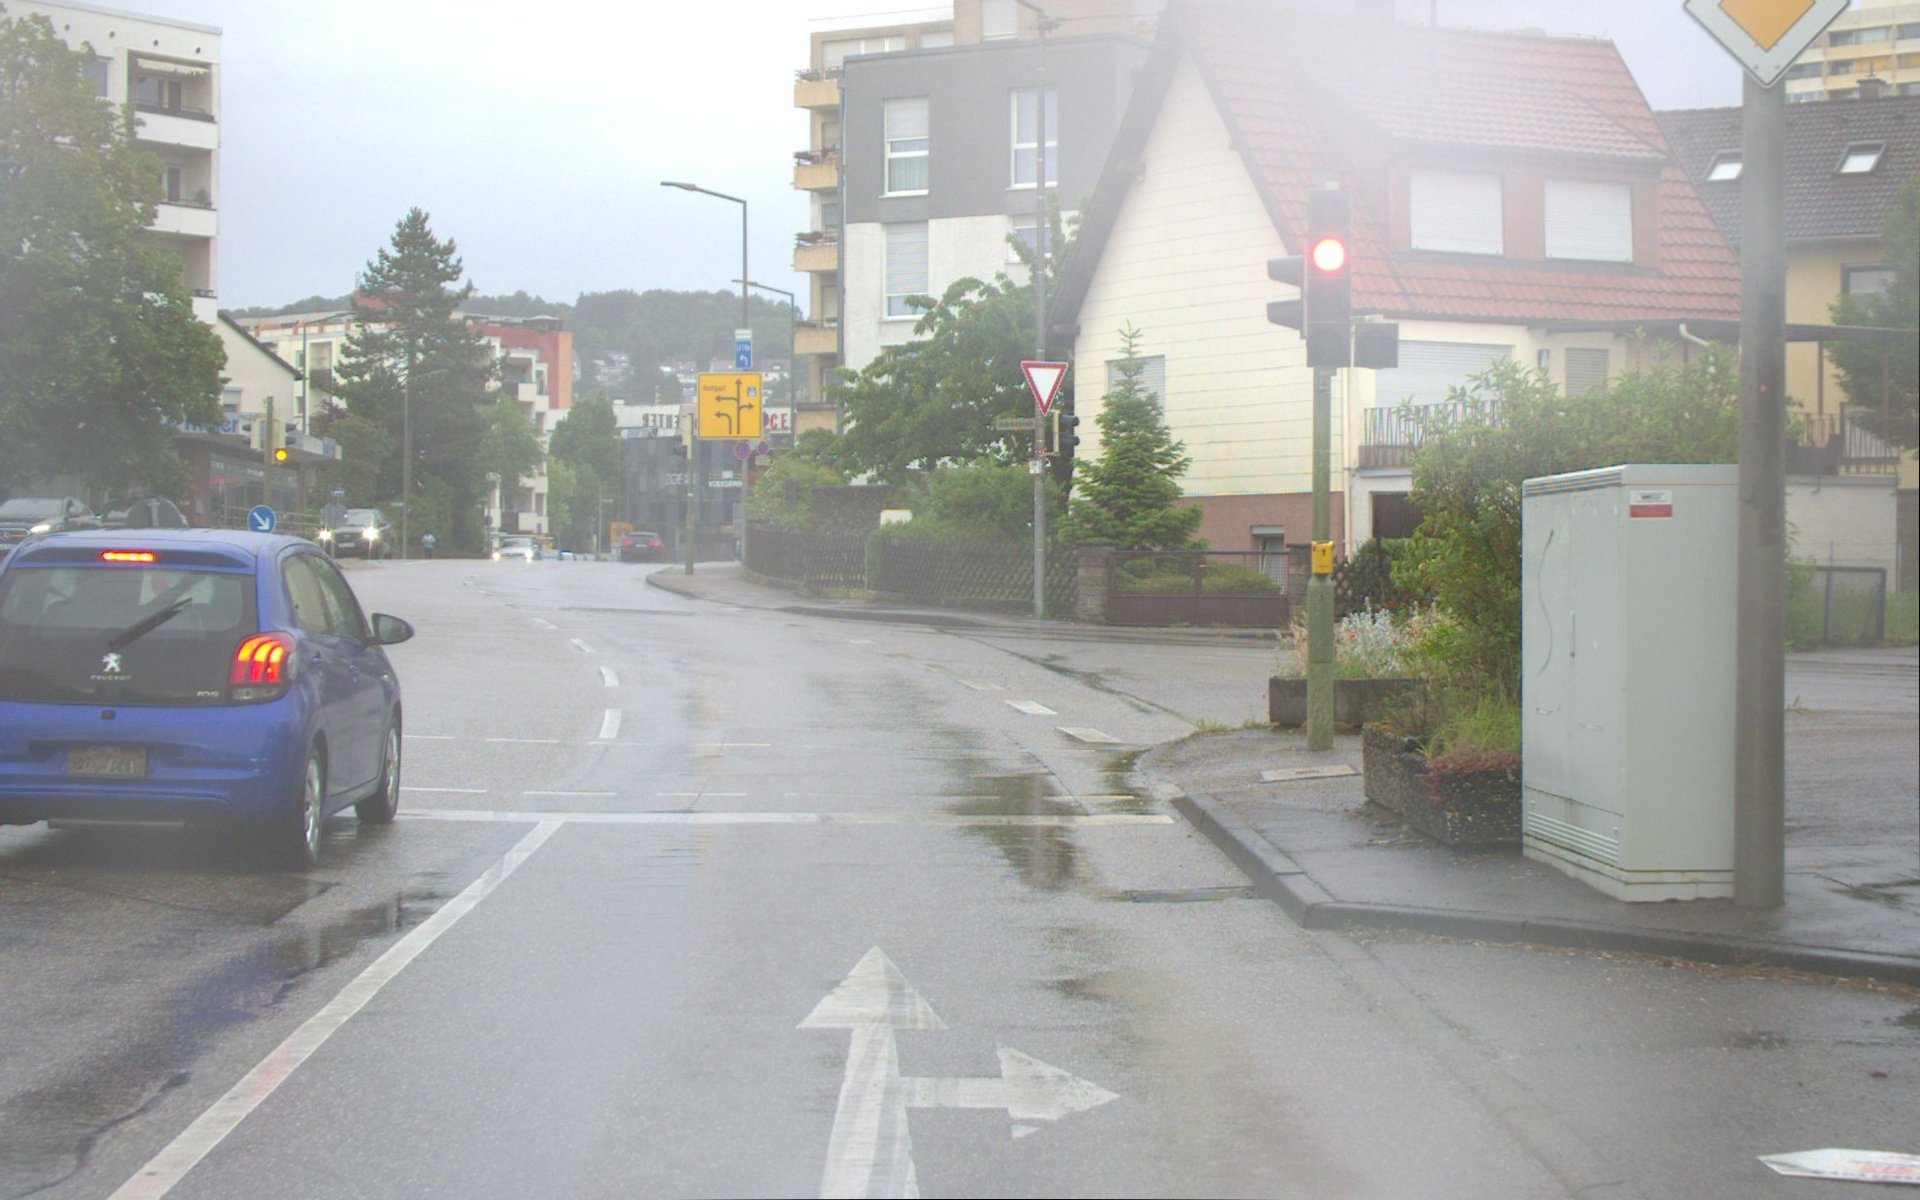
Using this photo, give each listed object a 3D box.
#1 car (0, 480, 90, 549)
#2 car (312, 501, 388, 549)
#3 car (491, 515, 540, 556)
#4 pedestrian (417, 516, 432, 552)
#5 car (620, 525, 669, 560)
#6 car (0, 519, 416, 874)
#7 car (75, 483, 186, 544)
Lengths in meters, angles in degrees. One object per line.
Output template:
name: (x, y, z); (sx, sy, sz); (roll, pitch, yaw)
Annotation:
car: (-19.866, -1.844, 73.244); (1.778, 1.415, 3.831); (1, 2, -1)
car: (-18.927, -2.348, 106.816); (1.778, 1.415, 3.831); (1, 2, -1)
car: (-20.440, -2.976, 158.132); (1.755, 1.809, 3.861); (1, 2, 0)
pedestrian: (-24.424, -3.000, 156.767); (0.498, 1.652, 0.433); (2, 2, 40)
car: (-13.787, -2.523, 150.357); (1.813, 1.481, 4.189); (0, 2, 0)
car: (-3.512, 0.356, 15.655); (1.578, 1.406, 3.270); (1, 2, -1)
car: (-19.379, -2.041, 80.487); (1.715, 1.382, 4.021); (1, 2, -1)
